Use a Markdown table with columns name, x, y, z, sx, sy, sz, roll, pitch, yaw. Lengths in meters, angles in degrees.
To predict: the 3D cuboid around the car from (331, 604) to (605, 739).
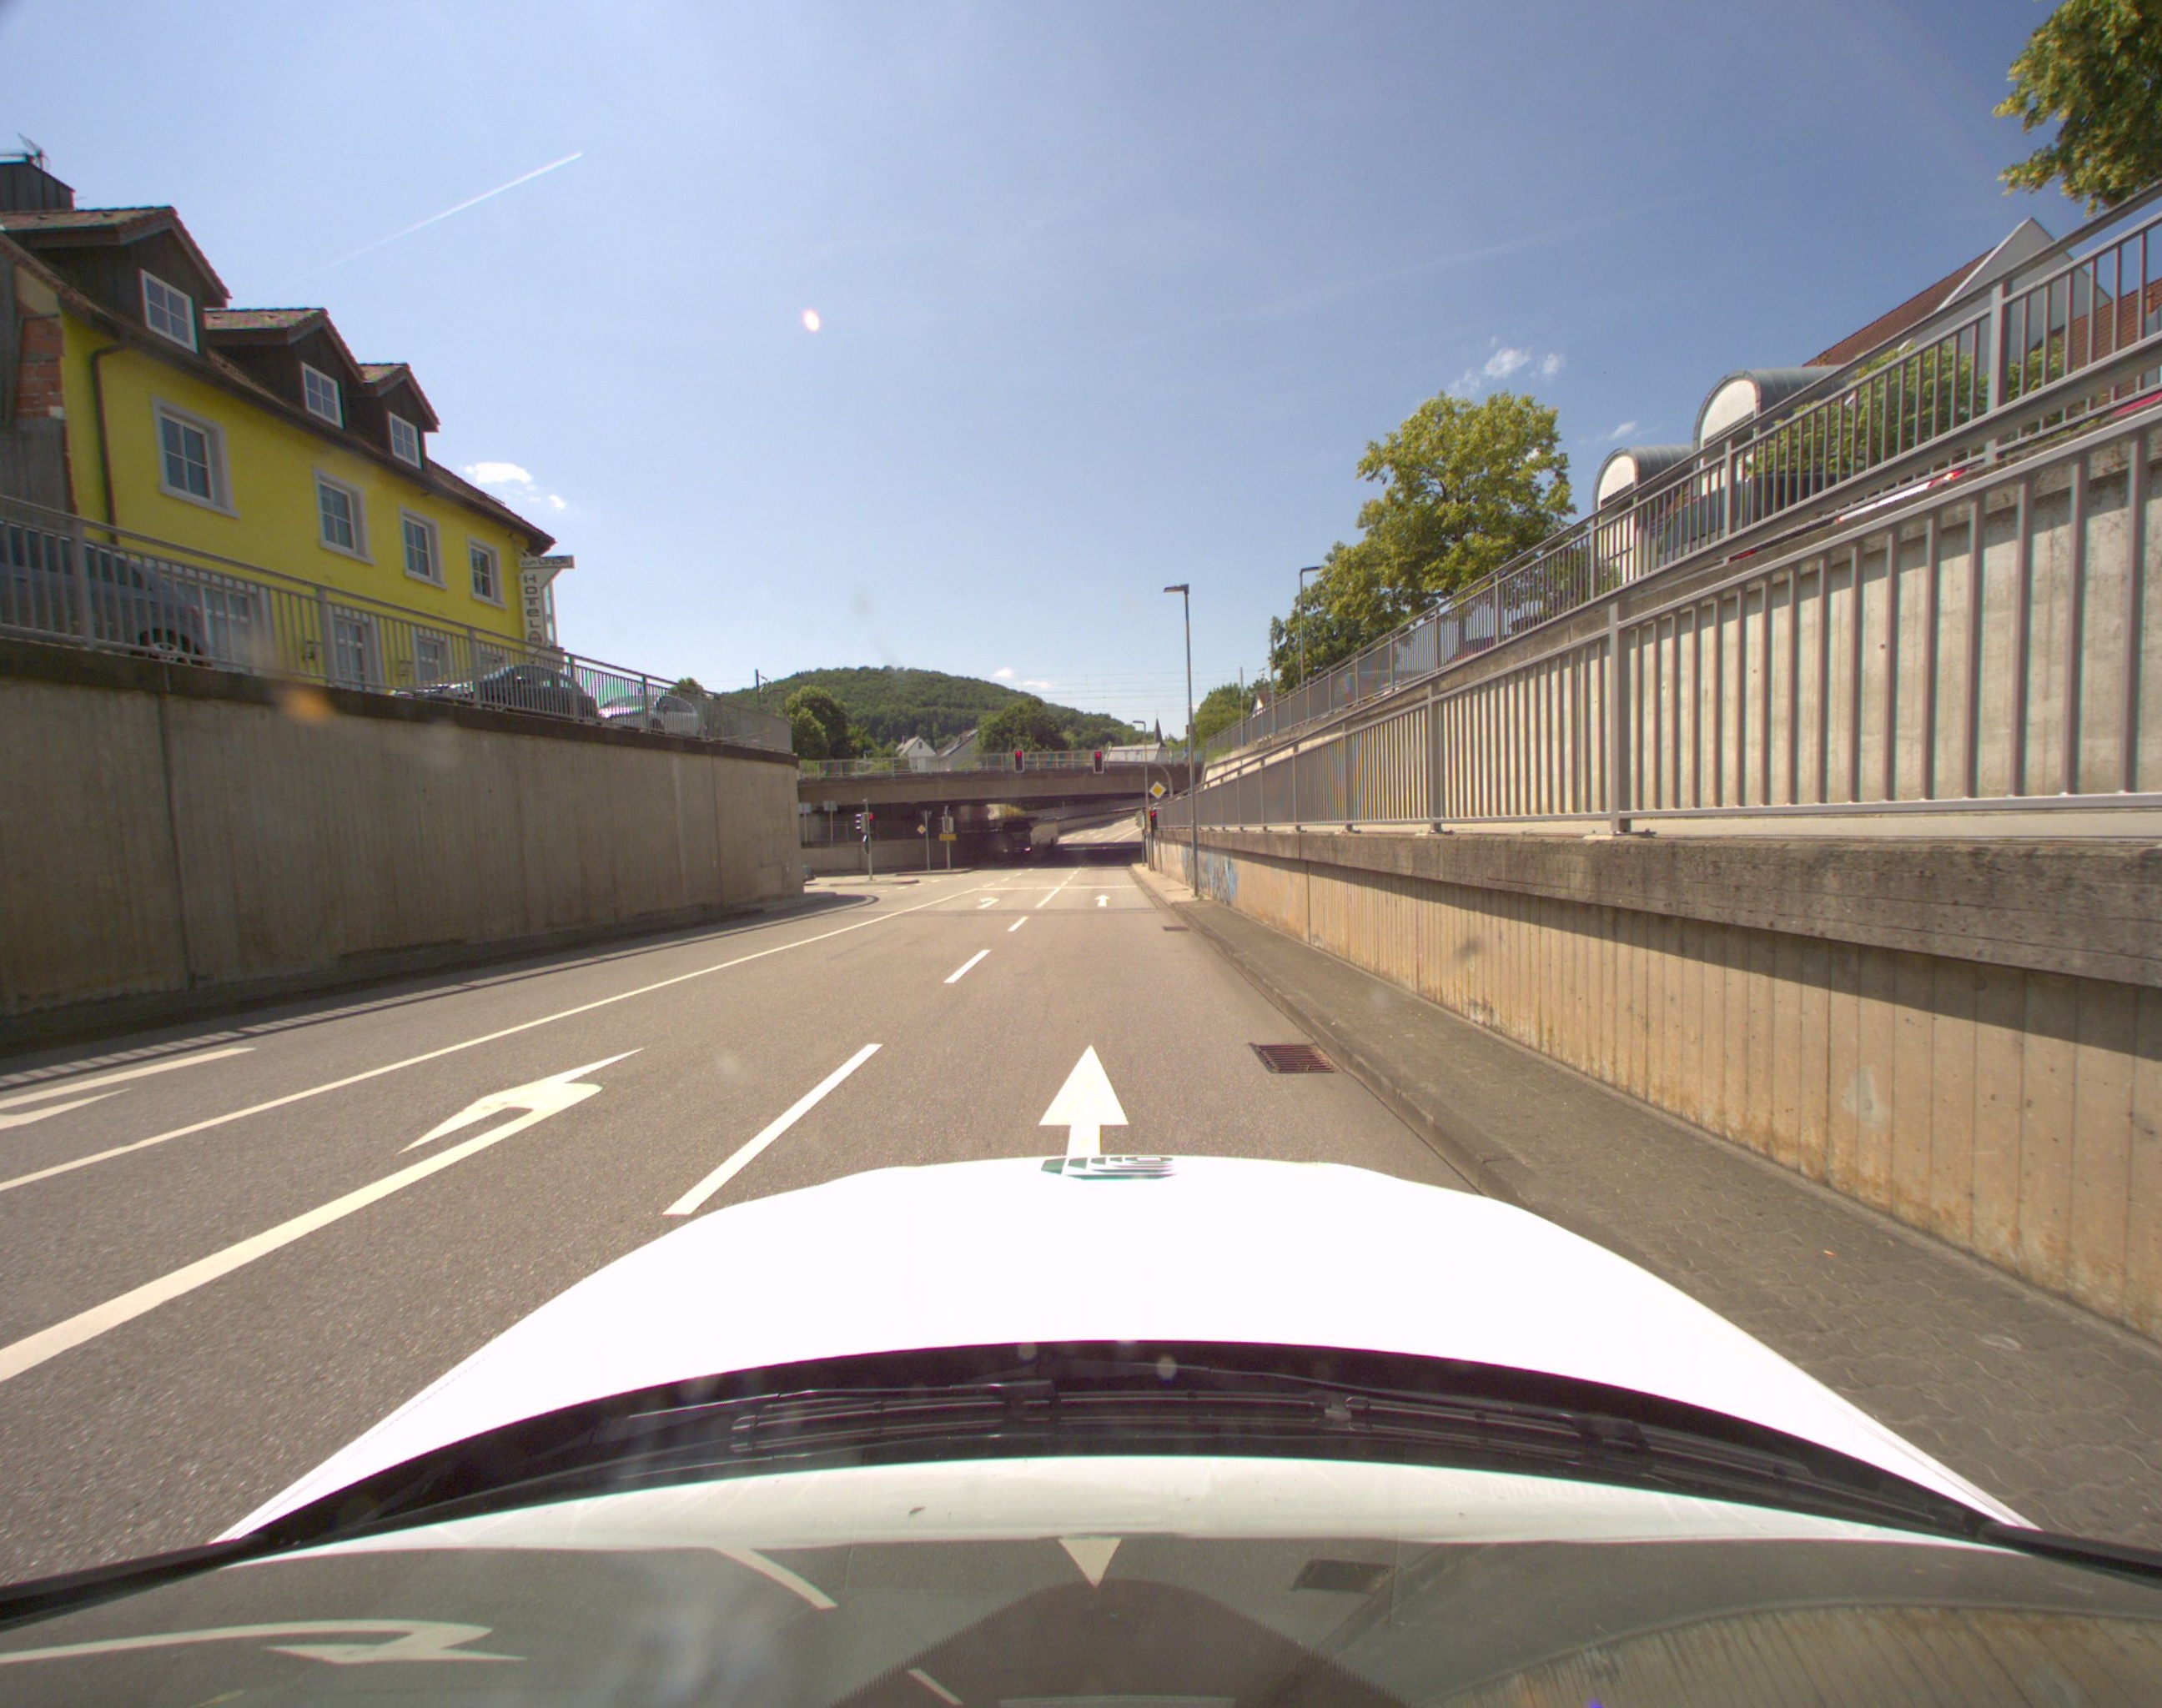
| name | x | y | z | sx | sy | sz | roll | pitch | yaw |
| --- | --- | --- | --- | --- | --- | --- | --- | --- | --- |
| car | -11.061 | -3.229 | 15.178 | 1.817 | 1.705 | 4.223 | -2 | 3 | 0 |

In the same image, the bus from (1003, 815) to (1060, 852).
| name | x | y | z | sx | sy | sz | roll | pitch | yaw |
| --- | --- | --- | --- | --- | --- | --- | --- | --- | --- |
| bus | -4.446 | -2.065 | 76.713 | 2.565 | 3.172 | 12.413 | -1 | 3 | 9 |

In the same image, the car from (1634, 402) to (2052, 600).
| name | x | y | z | sx | sy | sz | roll | pitch | yaw |
| --- | --- | --- | --- | --- | --- | --- | --- | --- | --- |
| car | 10.221 | -4.736 | 11.207 | 3.968 | 1.770 | 1.772 | -1 | 0 | 4 |

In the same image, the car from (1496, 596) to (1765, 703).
| name | x | y | z | sx | sy | sz | roll | pitch | yaw |
| --- | --- | --- | --- | --- | --- | --- | --- | --- | --- |
| car | 10.458 | -3.883 | 15.751 | 3.968 | 1.486 | 1.772 | -1 | 0 | 4 |

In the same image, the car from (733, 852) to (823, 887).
| name | x | y | z | sx | sy | sz | roll | pitch | yaw |
| --- | --- | --- | --- | --- | --- | --- | --- | --- | --- |
| car | -15.695 | 0.787 | 42.317 | 3.982 | 1.617 | 1.807 | -2 | 2 | -6 |

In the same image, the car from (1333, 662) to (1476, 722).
| name | x | y | z | sx | sy | sz | roll | pitch | yaw |
| --- | --- | --- | --- | --- | --- | --- | --- | --- | --- |
| car | 10.427 | -5.220 | 26.459 | 3.968 | 1.486 | 1.772 | -1 | 0 | 4 |

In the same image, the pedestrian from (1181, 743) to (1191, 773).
| name | x | y | z | sx | sy | sz | roll | pitch | yaw |
| --- | --- | --- | --- | --- | --- | --- | --- | --- | --- |
| pedestrian | 7.539 | -6.890 | 58.328 | 0.538 | 2.081 | 0.534 | -3 | 0 | -5 |

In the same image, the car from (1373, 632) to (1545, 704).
| name | x | y | z | sx | sy | sz | roll | pitch | yaw |
| --- | --- | --- | --- | --- | --- | --- | --- | --- | --- |
| car | 10.444 | -5.156 | 22.734 | 3.968 | 1.486 | 1.772 | -1 | 0 | 4 |

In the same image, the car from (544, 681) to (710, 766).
| name | x | y | z | sx | sy | sz | roll | pitch | yaw |
| --- | --- | --- | --- | --- | --- | --- | --- | --- | --- |
| car | -11.331 | -3.214 | 20.706 | 1.896 | 1.667 | 4.001 | -2 | 3 | 0 |

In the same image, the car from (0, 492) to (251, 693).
| name | x | y | z | sx | sy | sz | roll | pitch | yaw |
| --- | --- | --- | --- | --- | --- | --- | --- | --- | --- |
| car | -11.236 | -2.686 | 7.884 | 1.793 | 1.524 | 4.393 | -2 | 3 | 0 |

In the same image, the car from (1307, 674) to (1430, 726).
| name | x | y | z | sx | sy | sz | roll | pitch | yaw |
| --- | --- | --- | --- | --- | --- | --- | --- | --- | --- |
| car | 10.556 | -5.657 | 30.099 | 3.968 | 1.486 | 1.772 | -1 | 0 | 4 |

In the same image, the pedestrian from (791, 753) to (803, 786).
| name | x | y | z | sx | sy | sz | roll | pitch | yaw |
| --- | --- | --- | --- | --- | --- | --- | --- | --- | --- |
| pedestrian | -18.419 | -5.501 | 52.826 | 0.576 | 2.081 | 0.533 | -3 | 0 | -9 |

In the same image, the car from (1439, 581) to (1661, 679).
| name | x | y | z | sx | sy | sz | roll | pitch | yaw |
| --- | --- | --- | --- | --- | --- | --- | --- | --- | --- |
| car | 10.460 | -5.002 | 18.401 | 3.968 | 1.567 | 1.772 | -1 | 0 | 4 |
